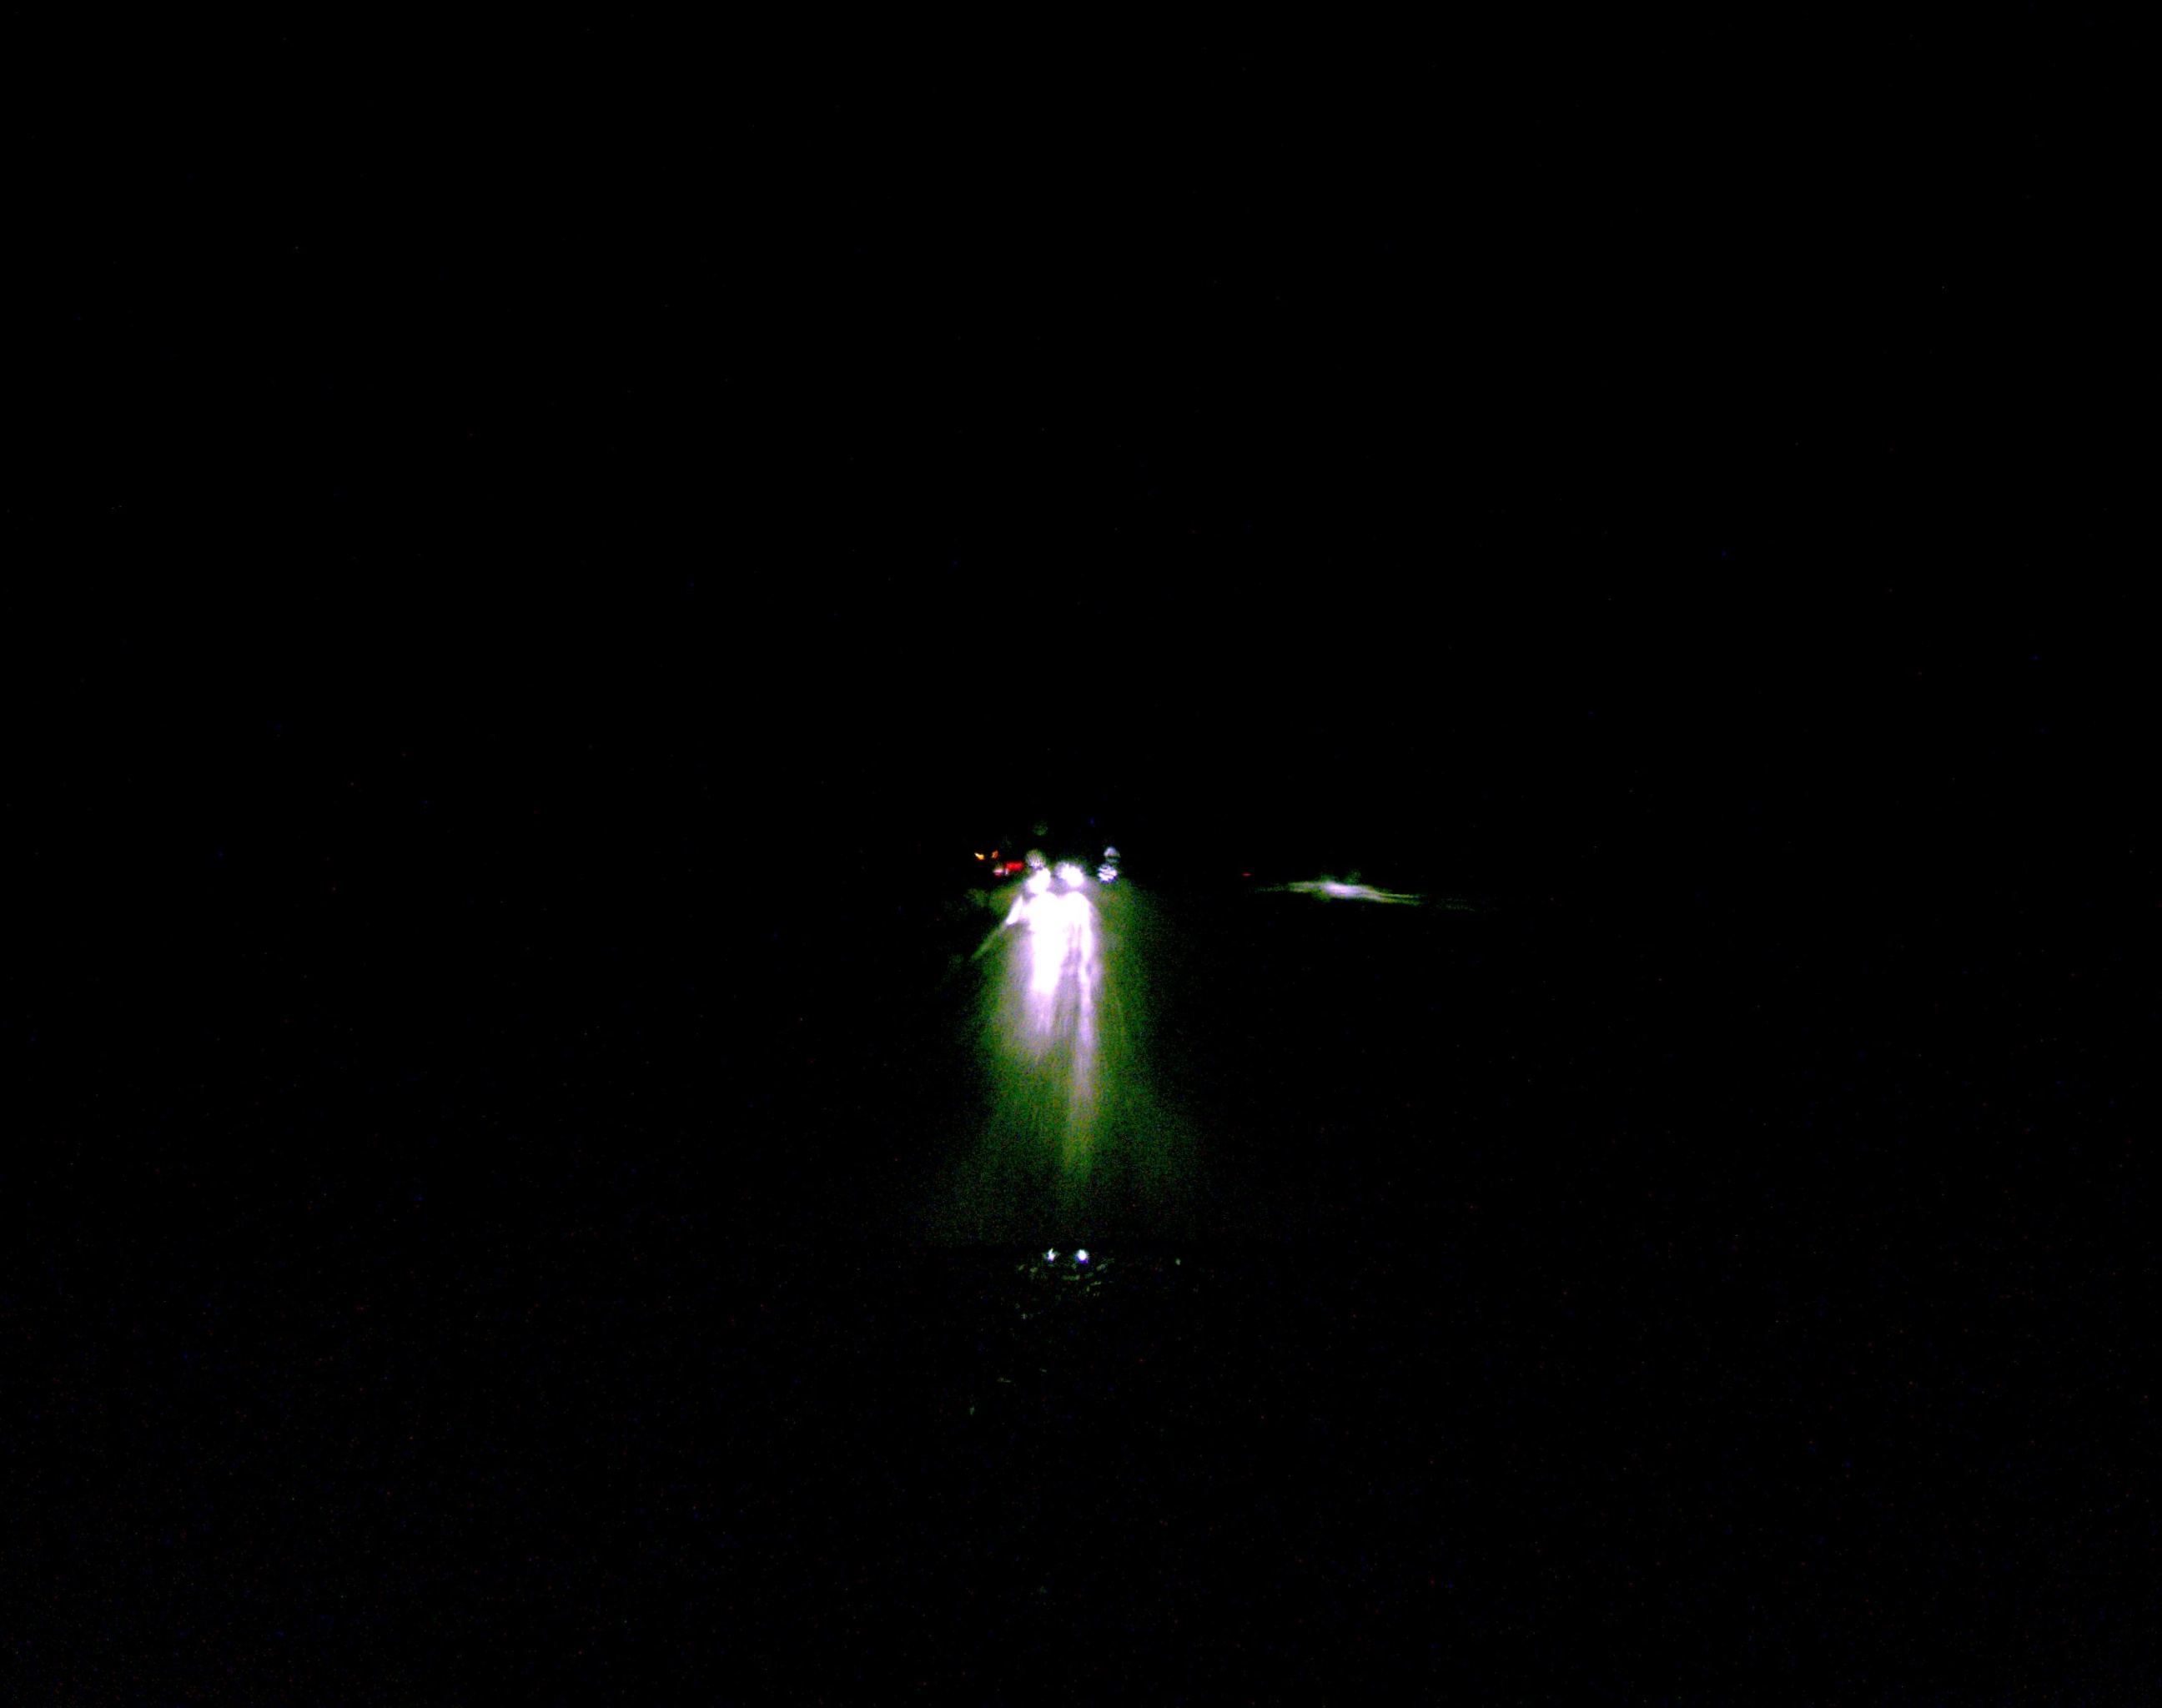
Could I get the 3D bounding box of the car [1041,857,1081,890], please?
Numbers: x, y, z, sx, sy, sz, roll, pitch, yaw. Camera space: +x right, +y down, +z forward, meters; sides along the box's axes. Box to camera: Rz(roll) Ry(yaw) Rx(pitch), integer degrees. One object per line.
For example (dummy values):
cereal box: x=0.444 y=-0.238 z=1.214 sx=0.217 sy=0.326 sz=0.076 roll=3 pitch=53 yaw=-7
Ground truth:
car: x=-0.949 y=0.990 z=38.437 sx=1.901 sy=1.551 sz=4.001 roll=1 pitch=-1 yaw=0

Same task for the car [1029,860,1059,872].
car: x=-6.515 y=2.097 z=132.474 sx=4.952 sy=1.827 sz=1.932 roll=3 pitch=-2 yaw=-12

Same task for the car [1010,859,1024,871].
car: x=-9.661 y=1.713 z=114.857 sx=1.848 sy=1.709 sz=3.957 roll=-1 pitch=-1 yaw=-9
